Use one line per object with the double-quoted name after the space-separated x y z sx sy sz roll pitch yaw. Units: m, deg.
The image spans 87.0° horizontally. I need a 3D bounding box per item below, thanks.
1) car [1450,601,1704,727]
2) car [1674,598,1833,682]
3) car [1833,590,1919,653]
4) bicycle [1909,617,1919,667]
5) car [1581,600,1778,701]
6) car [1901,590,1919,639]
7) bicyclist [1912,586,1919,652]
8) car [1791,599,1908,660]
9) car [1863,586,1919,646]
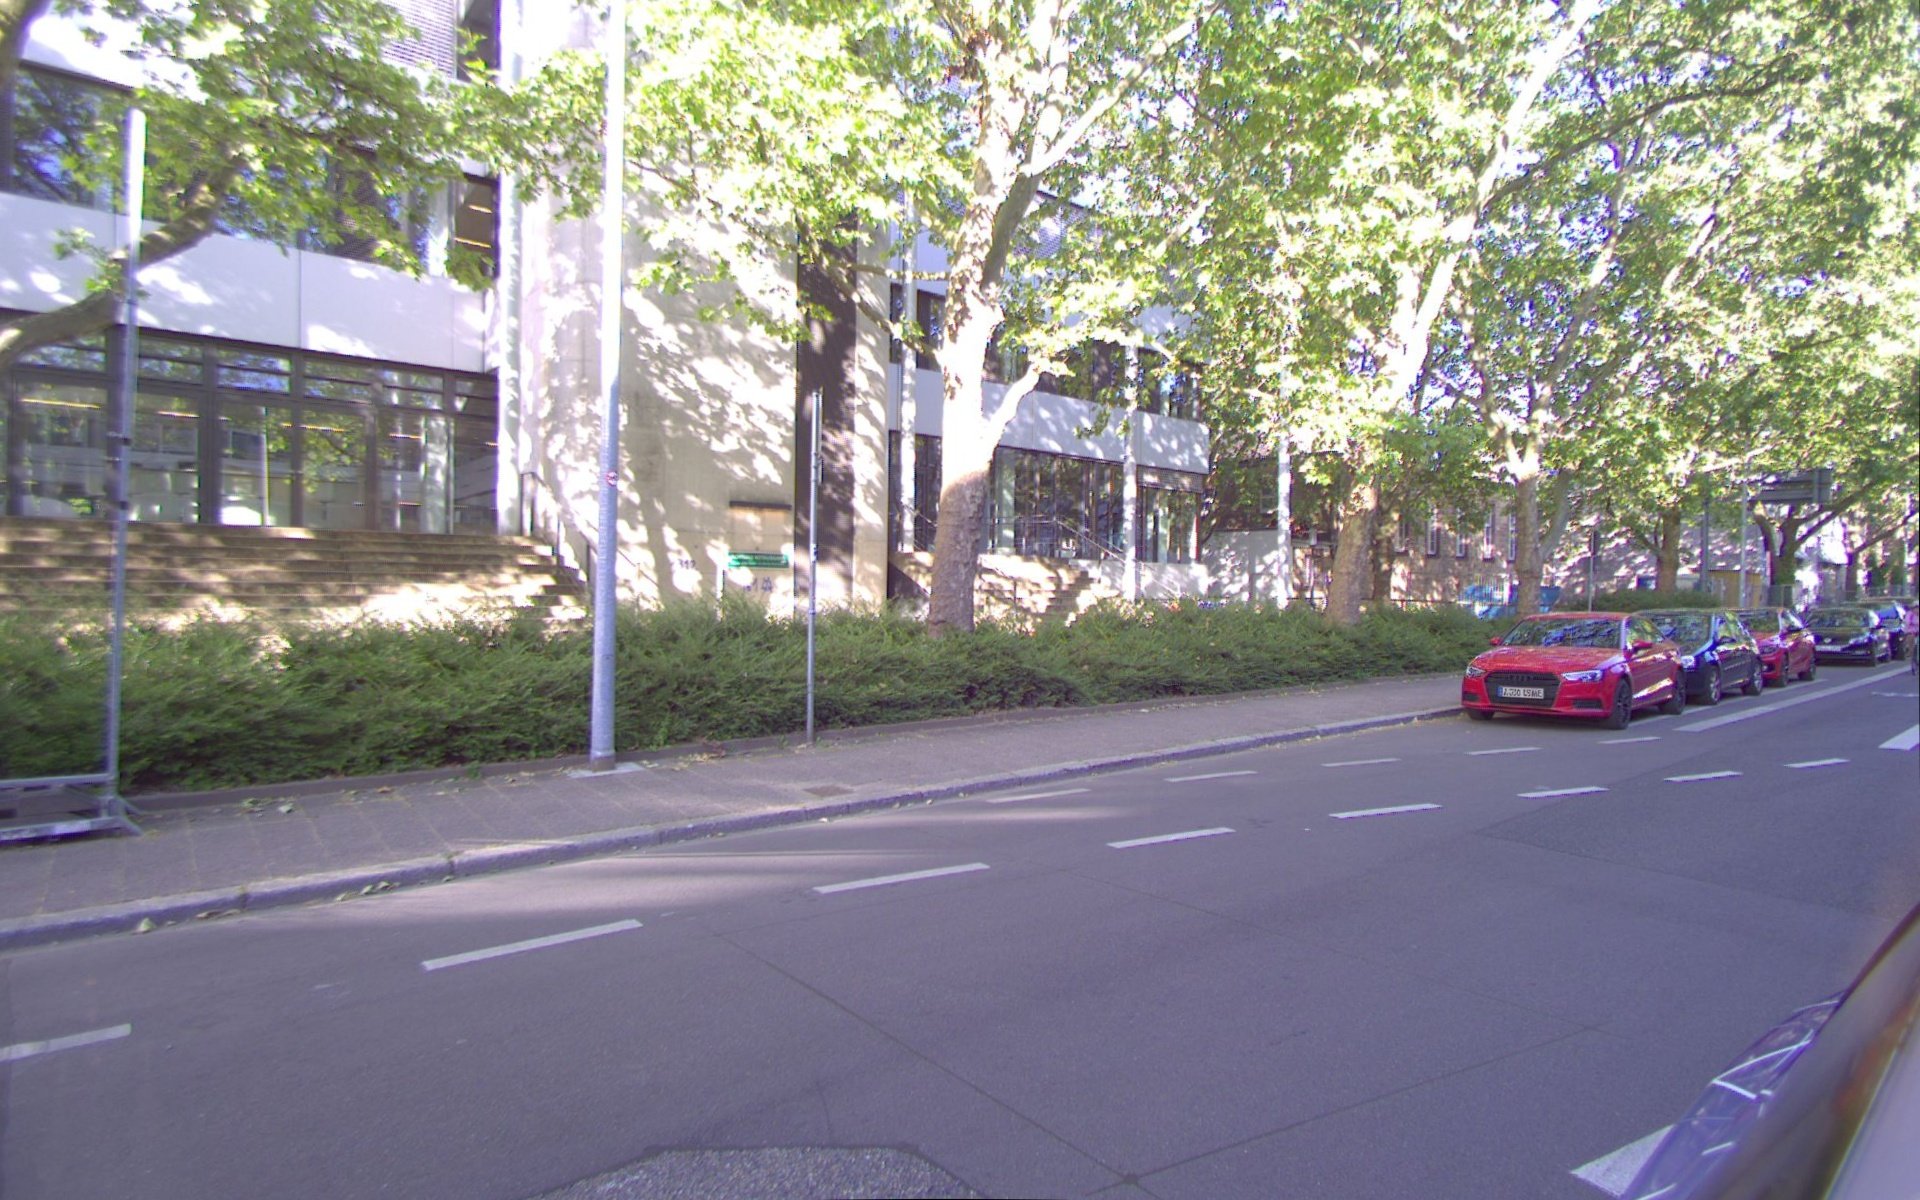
8.273 0.742 13.447 3.930 1.427 1.753 0 -1 -41 "car"
15.700 0.721 19.968 3.841 1.486 1.753 0 -1 -41 "car"
26.712 0.585 29.179 4.101 1.674 1.753 0 -1 -41 "car"
21.549 0.930 22.394 1.567 1.073 0.650 0 0 -41 "bicycle"
11.848 0.740 16.591 3.841 1.451 1.753 0 -1 -41 "car"
36.192 0.514 37.266 4.370 1.750 1.753 0 -1 -41 "car"
21.555 0.423 22.382 0.728 1.453 0.650 0 0 -41 "bicyclist"
22.945 0.716 26.067 3.841 1.451 1.753 0 -1 -41 "car"
30.969 0.485 32.970 4.370 1.844 1.753 0 -1 -41 "car"
